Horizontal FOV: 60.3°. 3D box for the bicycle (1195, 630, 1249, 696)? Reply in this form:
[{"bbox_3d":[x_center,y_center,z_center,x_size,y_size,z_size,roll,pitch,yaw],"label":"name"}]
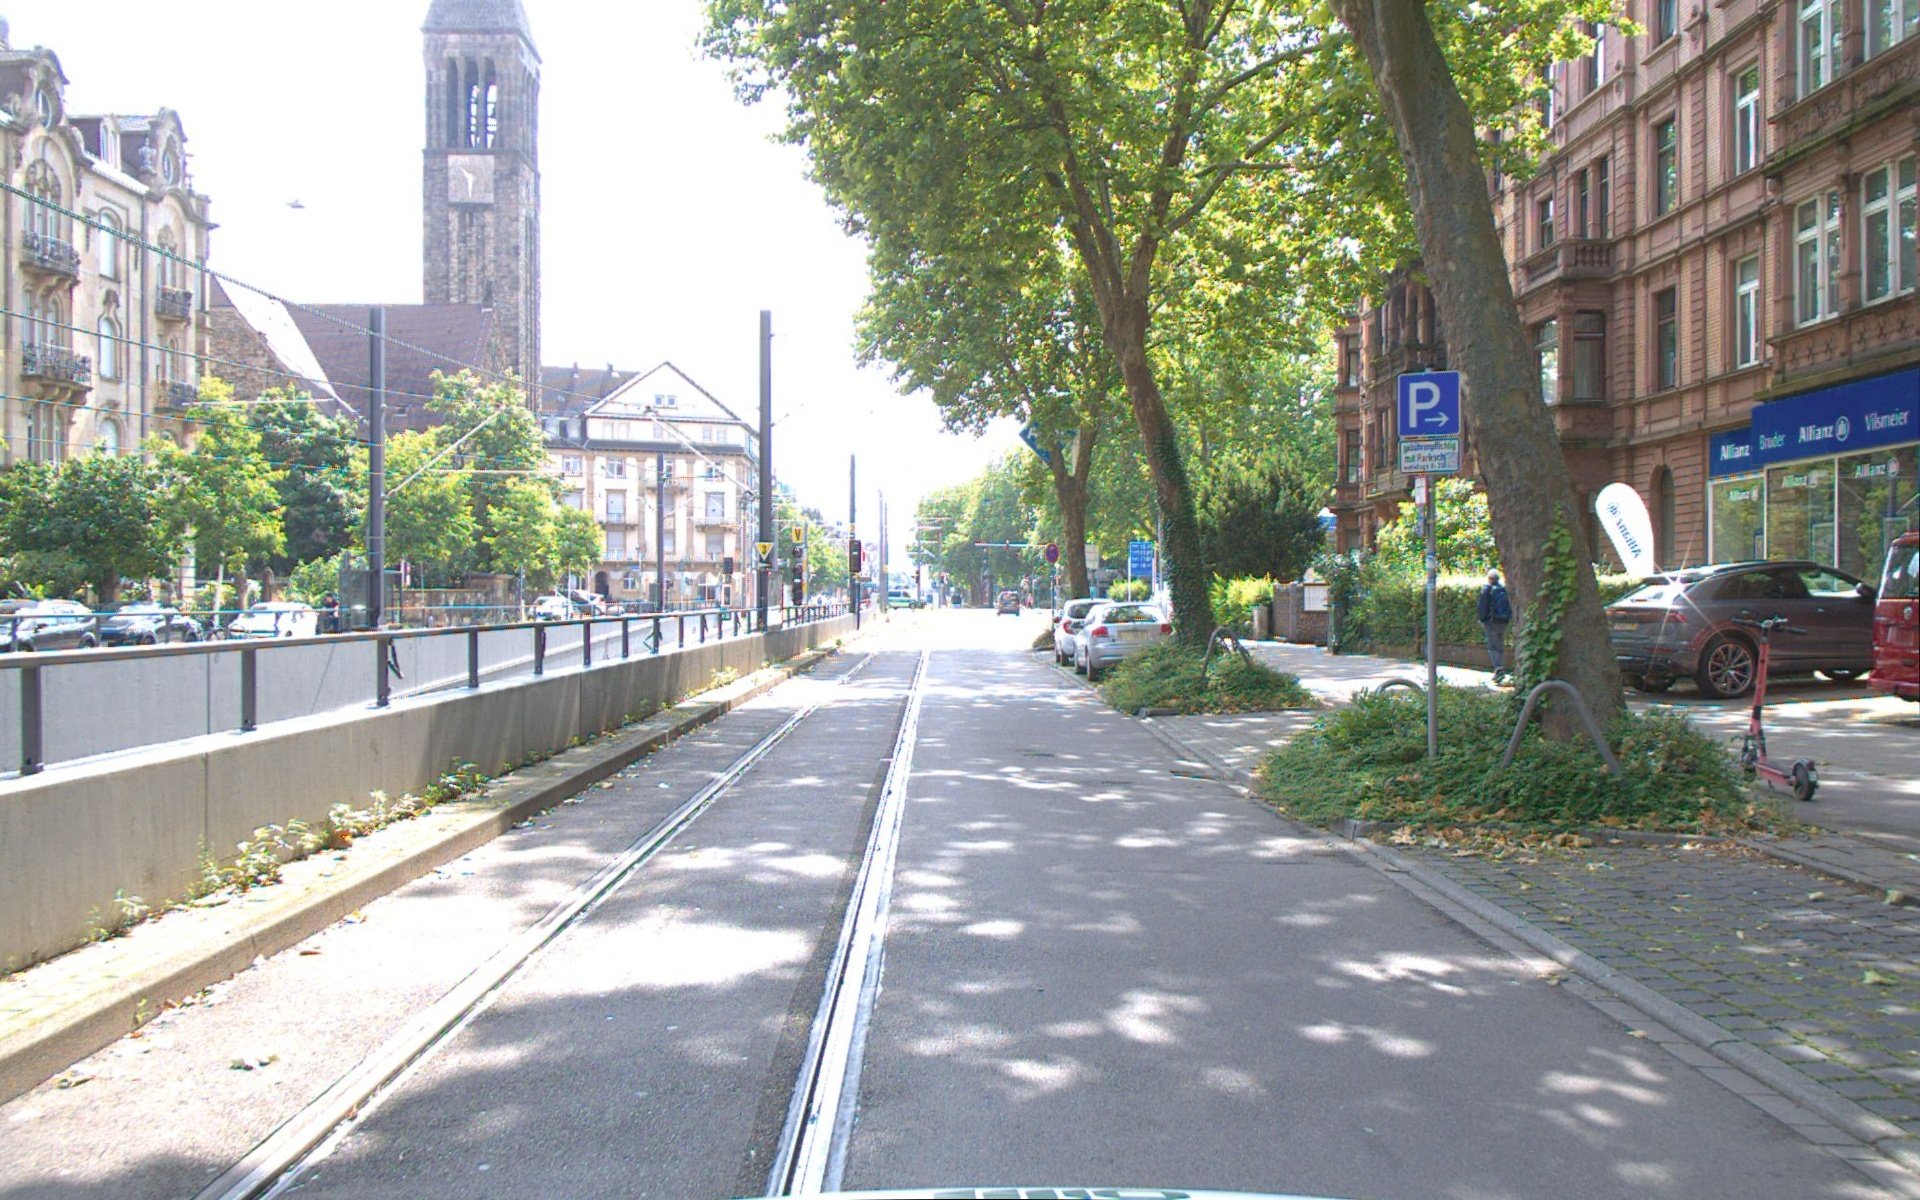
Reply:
[{"bbox_3d":[4.326,1.024,27.382,0.568,1.037,1.322,-1,0,-6],"label":"bicycle"}]

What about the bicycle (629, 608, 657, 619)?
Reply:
[{"bbox_3d":[-29.997,1.255,156.569,2.529,1.071,0.676,0,0,-29],"label":"bicycle"}]

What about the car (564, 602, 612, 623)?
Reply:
[{"bbox_3d":[-27.787,0.926,123.462,3.199,1.528,1.854,0,0,-2],"label":"car"}]

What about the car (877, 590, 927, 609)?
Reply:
[{"bbox_3d":[-5.784,-0.073,165.532,4.640,1.892,1.999,-1,0,24],"label":"car"}]

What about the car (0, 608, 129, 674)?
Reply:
[{"bbox_3d":[-20.790,0.879,37.110,1.909,1.350,4.725,0,0,0],"label":"car"}]

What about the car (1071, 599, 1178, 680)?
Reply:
[{"bbox_3d":[3.149,0.746,32.273,1.643,1.469,3.857,-1,0,-1],"label":"car"}]

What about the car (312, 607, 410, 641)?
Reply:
[{"bbox_3d":[-27.584,1.098,76.260,3.881,1.489,1.723,-1,0,-1],"label":"car"}]

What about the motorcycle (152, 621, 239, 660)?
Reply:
[{"bbox_3d":[-21.106,1.112,45.716,1.725,0.958,1.417,-2,0,-2],"label":"motorcycle"}]

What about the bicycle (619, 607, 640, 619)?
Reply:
[{"bbox_3d":[-30.984,1.229,155.143,1.955,1.134,0.481,0,0,-38],"label":"bicycle"}]

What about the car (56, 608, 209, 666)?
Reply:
[{"bbox_3d":[-20.939,0.898,42.042,1.979,1.350,4.098,0,0,-3],"label":"car"}]

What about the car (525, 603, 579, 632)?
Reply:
[{"bbox_3d":[-21.785,0.911,88.453,1.892,1.531,4.412,0,0,-2],"label":"car"}]

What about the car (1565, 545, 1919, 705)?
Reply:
[{"bbox_3d":[10.868,0.288,22.310,4.634,1.813,2.001,-3,0,-9],"label":"car"}]

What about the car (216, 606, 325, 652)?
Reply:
[{"bbox_3d":[-21.180,0.861,50.972,1.716,1.351,4.311,-1,0,-3],"label":"car"}]

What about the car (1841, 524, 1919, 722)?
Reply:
[{"bbox_3d":[11.715,0.107,16.891,4.307,1.972,1.983,-3,0,-1],"label":"car"}]

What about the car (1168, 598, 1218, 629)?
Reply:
[{"bbox_3d":[11.225,0.639,79.943,1.769,1.481,4.000,0,0,-1],"label":"car"}]

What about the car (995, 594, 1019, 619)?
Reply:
[{"bbox_3d":[3.644,0.504,128.450,1.714,1.840,3.474,1,0,0],"label":"car"}]

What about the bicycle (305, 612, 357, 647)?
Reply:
[{"bbox_3d":[-19.195,0.889,50.517,0.760,0.996,2.140,-2,0,0],"label":"bicycle"}]

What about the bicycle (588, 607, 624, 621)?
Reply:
[{"bbox_3d":[-33.348,1.326,155.649,3.240,1.275,0.999,0,0,16],"label":"bicycle"}]

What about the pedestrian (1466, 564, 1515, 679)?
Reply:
[{"bbox_3d":[8.462,0.338,26.383,0.552,1.817,0.630,0,0,-1],"label":"pedestrian"}]

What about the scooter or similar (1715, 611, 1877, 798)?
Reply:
[{"bbox_3d":[5.903,0.705,11.748,0.457,1.232,1.323,-1,0,-1],"label":"scooter or similar"}]

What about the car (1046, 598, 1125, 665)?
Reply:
[{"bbox_3d":[2.925,0.724,39.234,1.522,1.511,3.857,-1,0,-1],"label":"car"}]

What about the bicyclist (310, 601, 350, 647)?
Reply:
[{"bbox_3d":[-19.189,0.713,50.383,0.752,1.361,1.049,-2,0,0],"label":"bicyclist"}]
